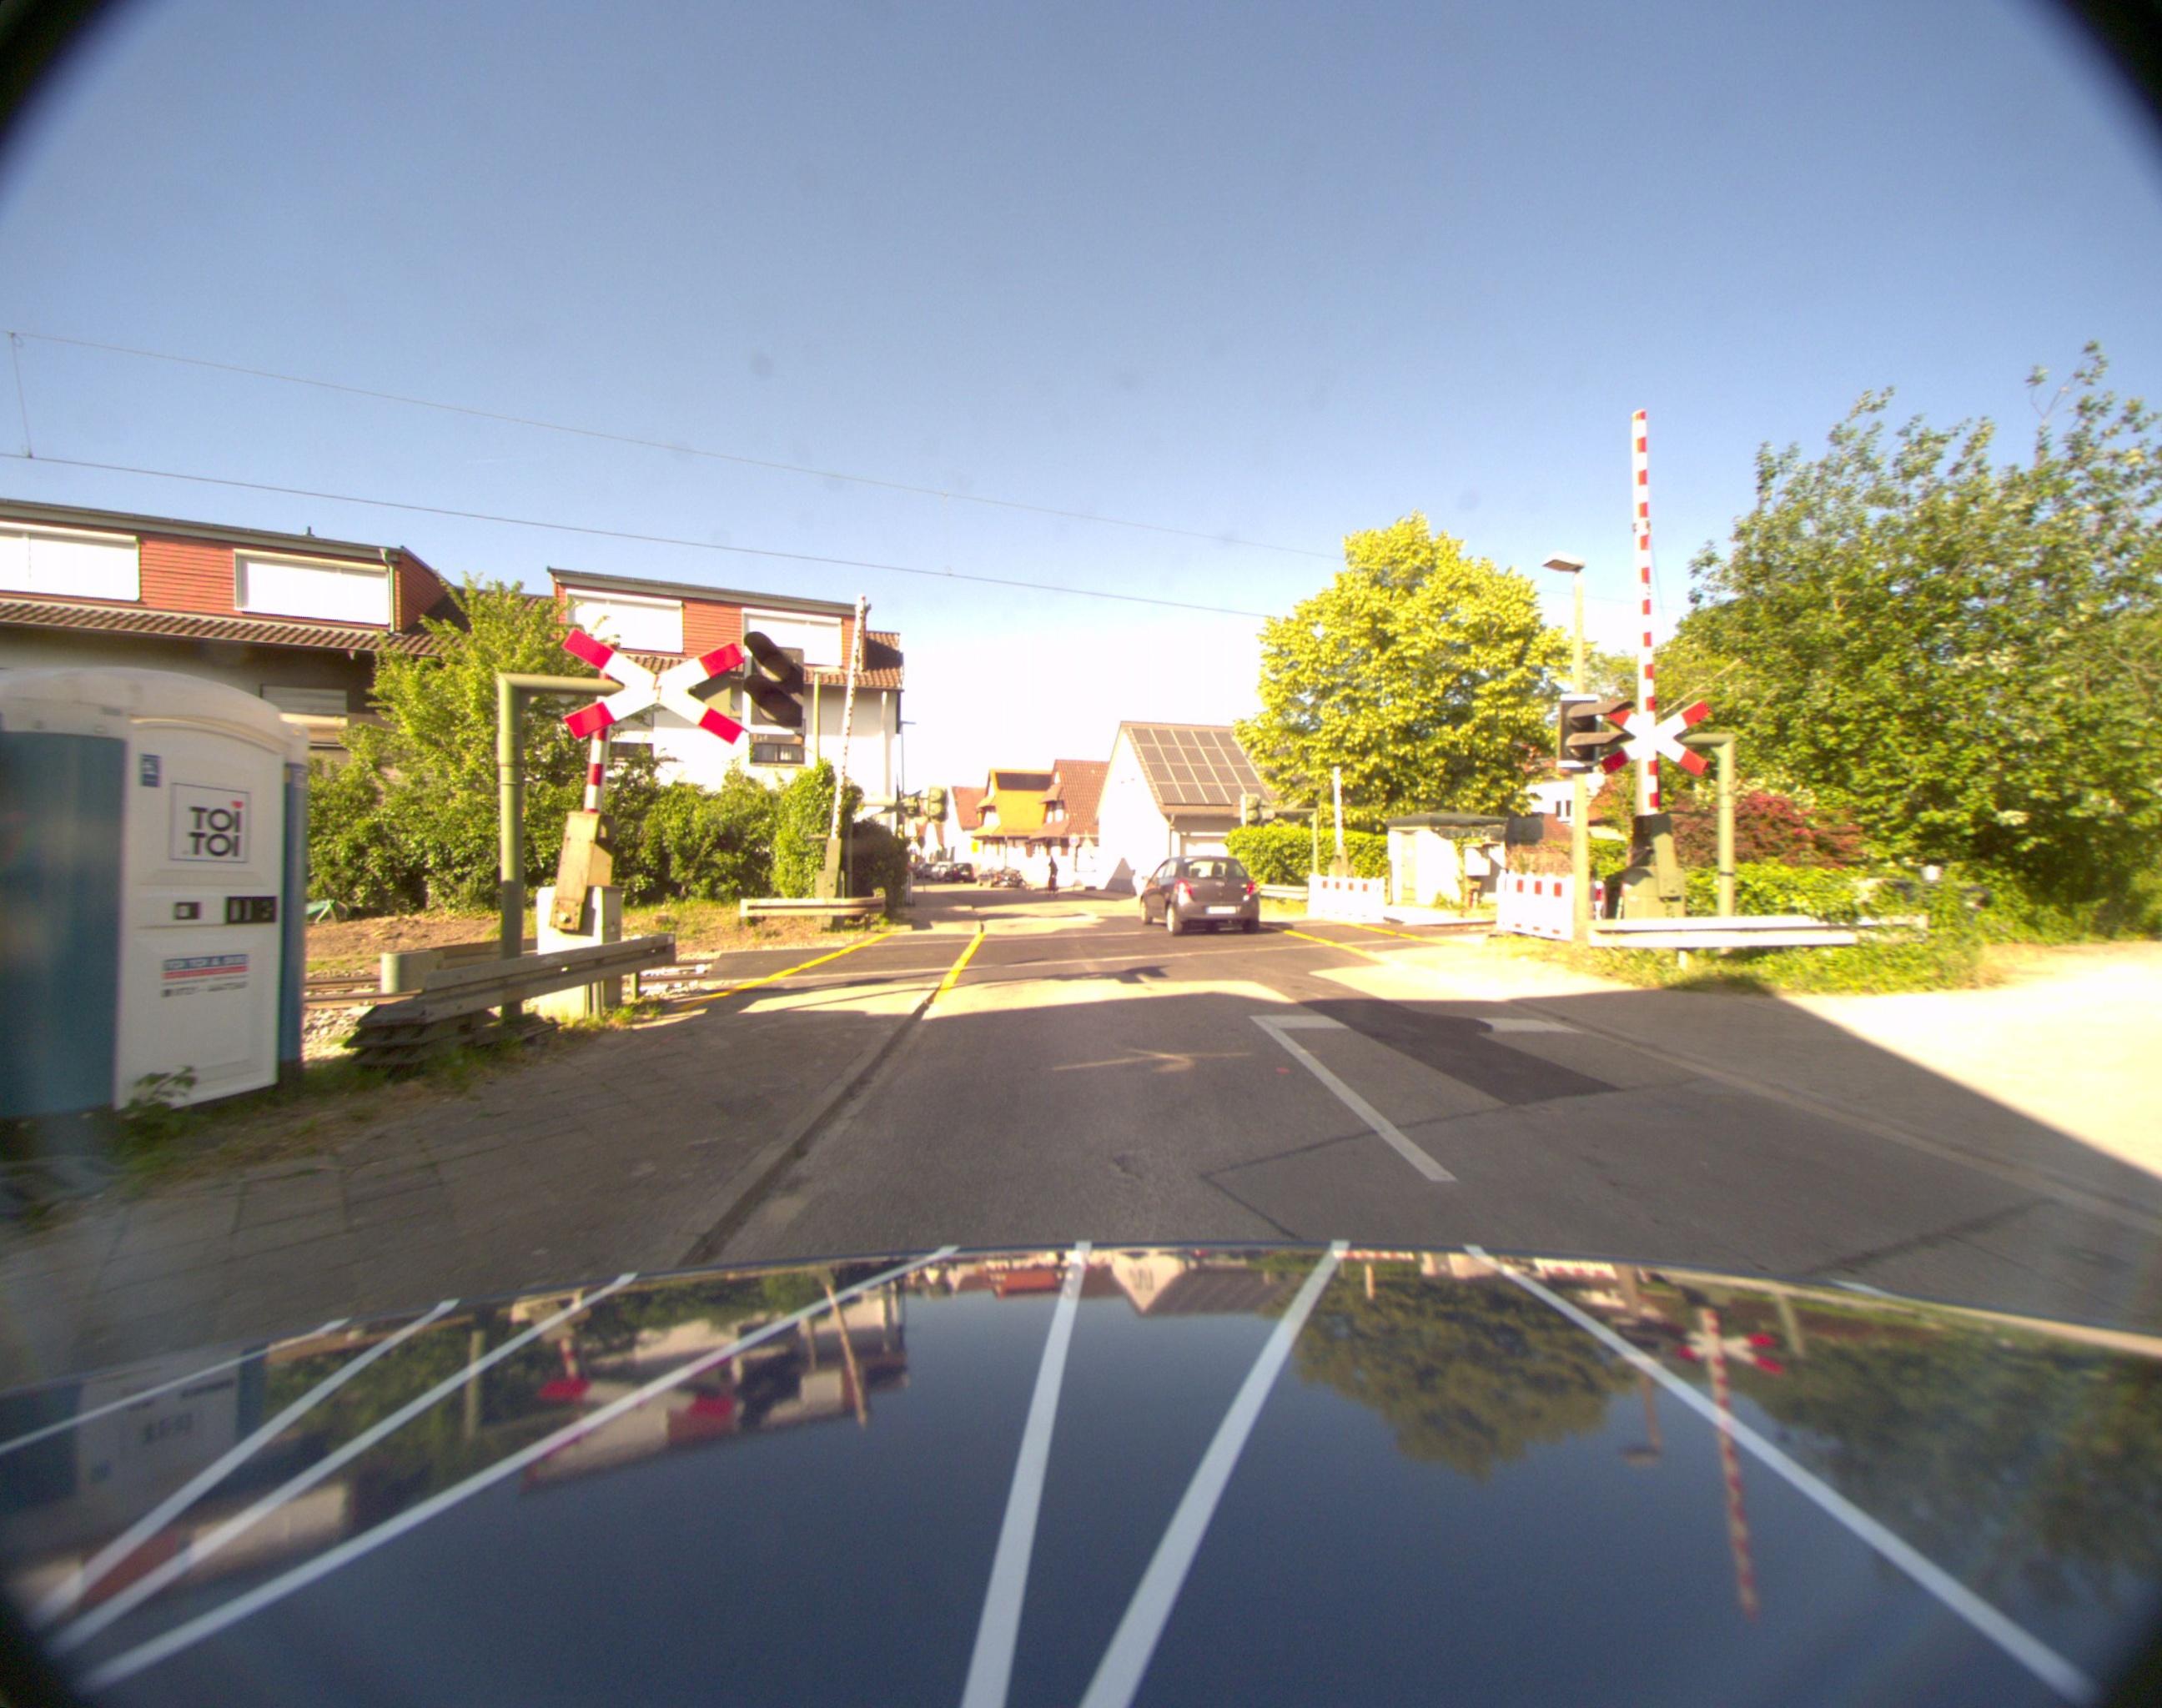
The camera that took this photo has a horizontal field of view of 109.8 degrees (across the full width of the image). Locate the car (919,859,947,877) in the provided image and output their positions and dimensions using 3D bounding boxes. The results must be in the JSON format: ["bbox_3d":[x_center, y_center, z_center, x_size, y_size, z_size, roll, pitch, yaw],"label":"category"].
[{"bbox_3d":[-13.615,1.238,69.744,1.750,1.604,3.992,0,0,-24],"label":"car"}]

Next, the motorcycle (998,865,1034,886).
[{"bbox_3d":[-3.821,1.265,44.612,1.990,1.224,0.628,0,0,23],"label":"motorcycle"}]

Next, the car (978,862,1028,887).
[{"bbox_3d":[-4.970,1.263,47.764,1.853,1.398,5.027,1,0,-21],"label":"car"}]

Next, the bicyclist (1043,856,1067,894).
[{"bbox_3d":[-1.119,0.880,32.056,0.851,1.532,0.872,-1,1,-14],"label":"bicyclist"}]

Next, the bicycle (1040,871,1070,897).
[{"bbox_3d":[-1.132,1.250,32.147,0.887,0.999,2.060,-1,1,-13],"label":"bicycle"}]

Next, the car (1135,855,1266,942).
[{"bbox_3d":[2.275,0.795,15.409,1.691,1.501,3.651,0,1,-7],"label":"car"}]

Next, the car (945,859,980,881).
[{"bbox_3d":[-9.147,1.214,58.570,1.791,1.595,4.353,0,0,-21],"label":"car"}]

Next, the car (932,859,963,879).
[{"bbox_3d":[-11.181,1.242,63.565,1.824,1.557,4.160,0,0,-21],"label":"car"}]
